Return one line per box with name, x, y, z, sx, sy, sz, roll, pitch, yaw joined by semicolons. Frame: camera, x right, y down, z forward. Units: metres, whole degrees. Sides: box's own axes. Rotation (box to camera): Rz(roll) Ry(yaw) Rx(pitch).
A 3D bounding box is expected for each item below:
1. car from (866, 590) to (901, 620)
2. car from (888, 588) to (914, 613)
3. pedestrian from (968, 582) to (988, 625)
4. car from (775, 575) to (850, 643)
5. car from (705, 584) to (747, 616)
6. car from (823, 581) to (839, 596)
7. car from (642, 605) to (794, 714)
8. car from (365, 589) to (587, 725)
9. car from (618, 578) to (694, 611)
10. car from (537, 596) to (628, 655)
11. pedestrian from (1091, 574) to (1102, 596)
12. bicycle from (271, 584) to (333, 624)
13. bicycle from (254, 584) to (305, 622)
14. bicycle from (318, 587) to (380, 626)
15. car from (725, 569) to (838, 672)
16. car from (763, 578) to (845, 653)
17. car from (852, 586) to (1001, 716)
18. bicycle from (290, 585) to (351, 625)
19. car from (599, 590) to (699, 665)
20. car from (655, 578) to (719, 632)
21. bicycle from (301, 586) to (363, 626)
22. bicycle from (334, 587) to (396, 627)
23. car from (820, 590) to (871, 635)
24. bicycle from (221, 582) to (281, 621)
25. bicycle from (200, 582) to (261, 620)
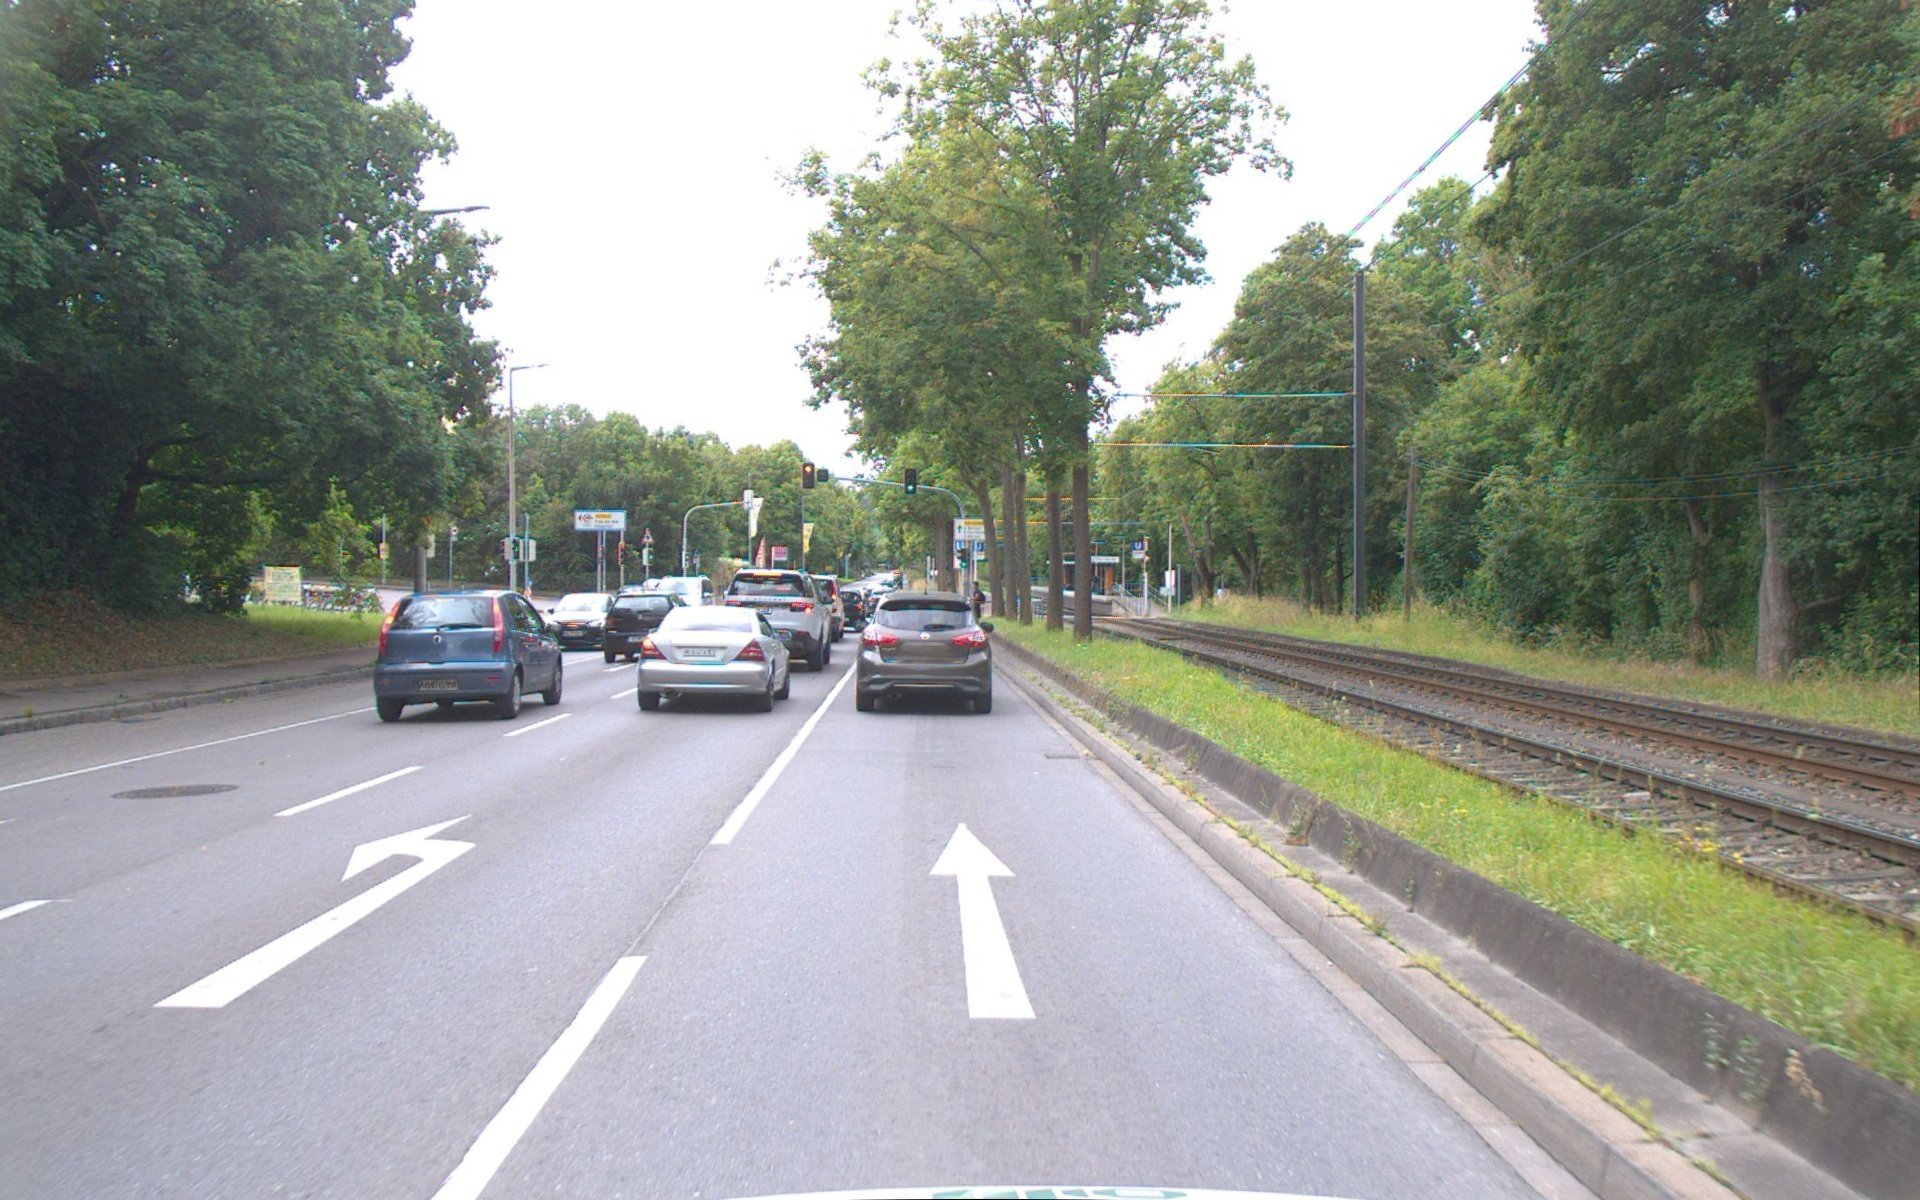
car;-4.047;0.234;87.876;1.675;1.501;3.671;2;0;0
car;-3.722;0.022;105.305;1.472;1.555;3.671;2;0;0
pedestrian;0.755;0.132;69.035;0.736;1.768;0.840;-2;0;3
car;-4.274;0.226;48.732;1.868;1.875;5.280;1;0;-2
car;-11.812;-0.001;83.655;1.704;1.565;3.908;2;0;-3
car;-15.085;-1.327;193.575;1.864;1.708;5.076;1;0;-4
car;-3.105;0.724;21.847;1.523;1.289;3.821;1;0;-2
car;-5.856;0.633;20.460;1.559;1.493;3.929;-1;0;0
car;-17.427;-0.294;95.014;1.906;1.843;4.437;1;0;28
car;-9.762;0.625;42.984;1.597;1.419;3.831;1;0;-2
pedestrian;9.945;-1.076;120.825;0.703;1.537;0.724;2;0;1
bicycle;-22.321;0.147;56.126;0.535;1.274;1.928;2;0;35
bicycle;-23.223;0.114;56.482;0.532;1.274;1.937;2;0;15
bicycle;-20.229;0.223;54.755;0.535;1.274;1.928;2;0;35
car;-3.410;0.373;32.316;1.767;1.826;4.502;2;0;-1
car;-3.768;0.364;40.599;1.716;1.748;4.332;0;0;-2
car;-0.413;0.620;22.372;1.800;1.555;3.929;1;0;0
bicycle;-21.520;0.177;55.699;0.535;1.274;1.928;2;0;35
car;-6.660;0.552;35.736;1.525;1.492;3.806;-1;0;-2
car;-9.946;0.165;60.471;1.755;1.863;4.407;-1;0;-2
bicycle;-20.892;0.199;55.056;0.535;1.274;1.928;2;0;35
bicycle;-19.596;0.247;54.482;0.535;1.274;1.928;2;0;35
car;-4.027;0.420;58.554;1.669;1.506;3.666;1;0;-2
bicycle;-24.416;0.070;56.970;0.534;1.274;1.931;2;0;31
bicycle;-25.239;0.039;57.269;0.534;1.274;1.931;2;0;31
